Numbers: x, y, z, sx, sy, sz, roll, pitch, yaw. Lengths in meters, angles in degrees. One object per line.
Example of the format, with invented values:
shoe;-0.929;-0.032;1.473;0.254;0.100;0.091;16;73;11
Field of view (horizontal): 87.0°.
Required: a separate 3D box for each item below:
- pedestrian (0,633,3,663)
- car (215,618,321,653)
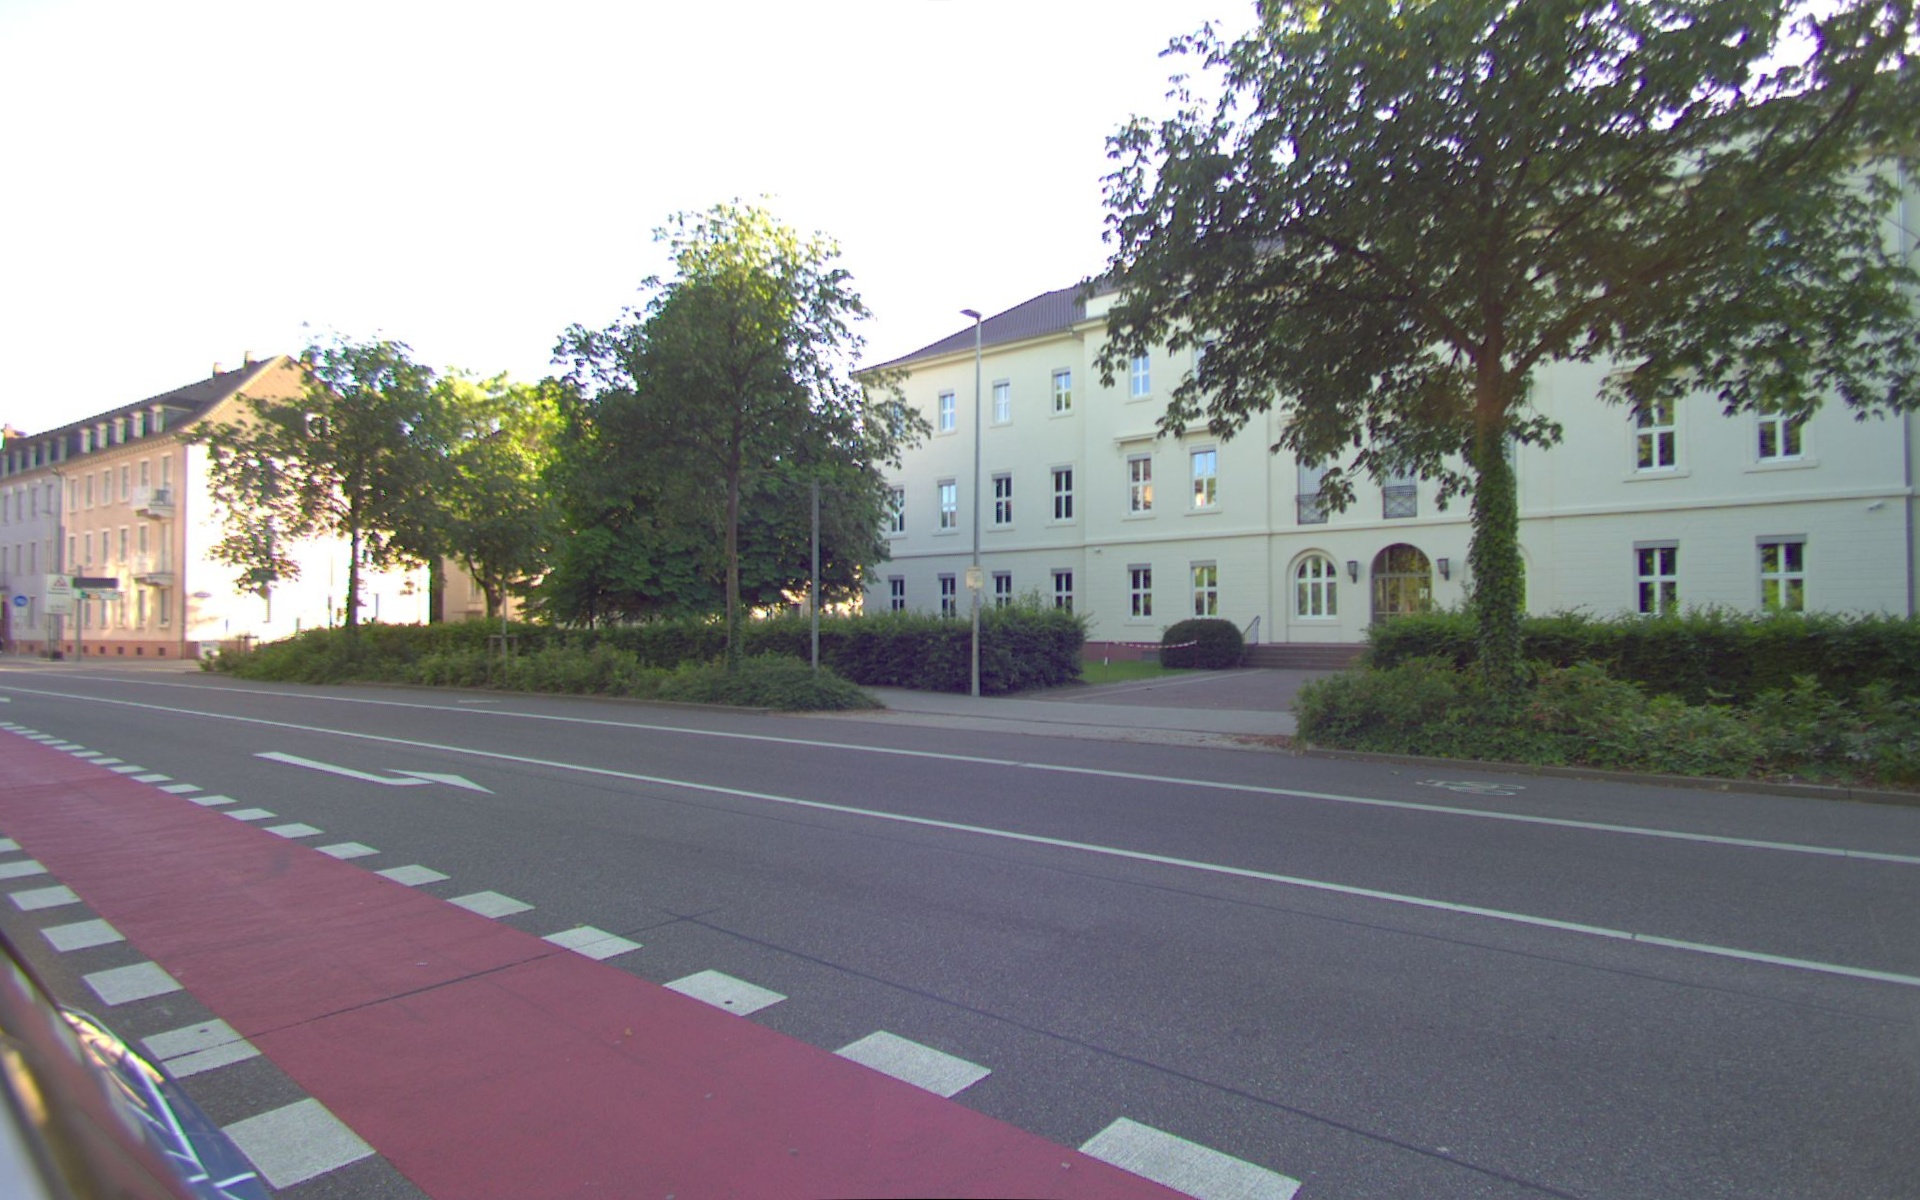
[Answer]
pedestrian;-62.669;3.104;65.451;1.060;1.919;0.938;-1;-1;33
car;-34.636;1.744;50.720;1.993;1.674;3.958;-1;-1;31
